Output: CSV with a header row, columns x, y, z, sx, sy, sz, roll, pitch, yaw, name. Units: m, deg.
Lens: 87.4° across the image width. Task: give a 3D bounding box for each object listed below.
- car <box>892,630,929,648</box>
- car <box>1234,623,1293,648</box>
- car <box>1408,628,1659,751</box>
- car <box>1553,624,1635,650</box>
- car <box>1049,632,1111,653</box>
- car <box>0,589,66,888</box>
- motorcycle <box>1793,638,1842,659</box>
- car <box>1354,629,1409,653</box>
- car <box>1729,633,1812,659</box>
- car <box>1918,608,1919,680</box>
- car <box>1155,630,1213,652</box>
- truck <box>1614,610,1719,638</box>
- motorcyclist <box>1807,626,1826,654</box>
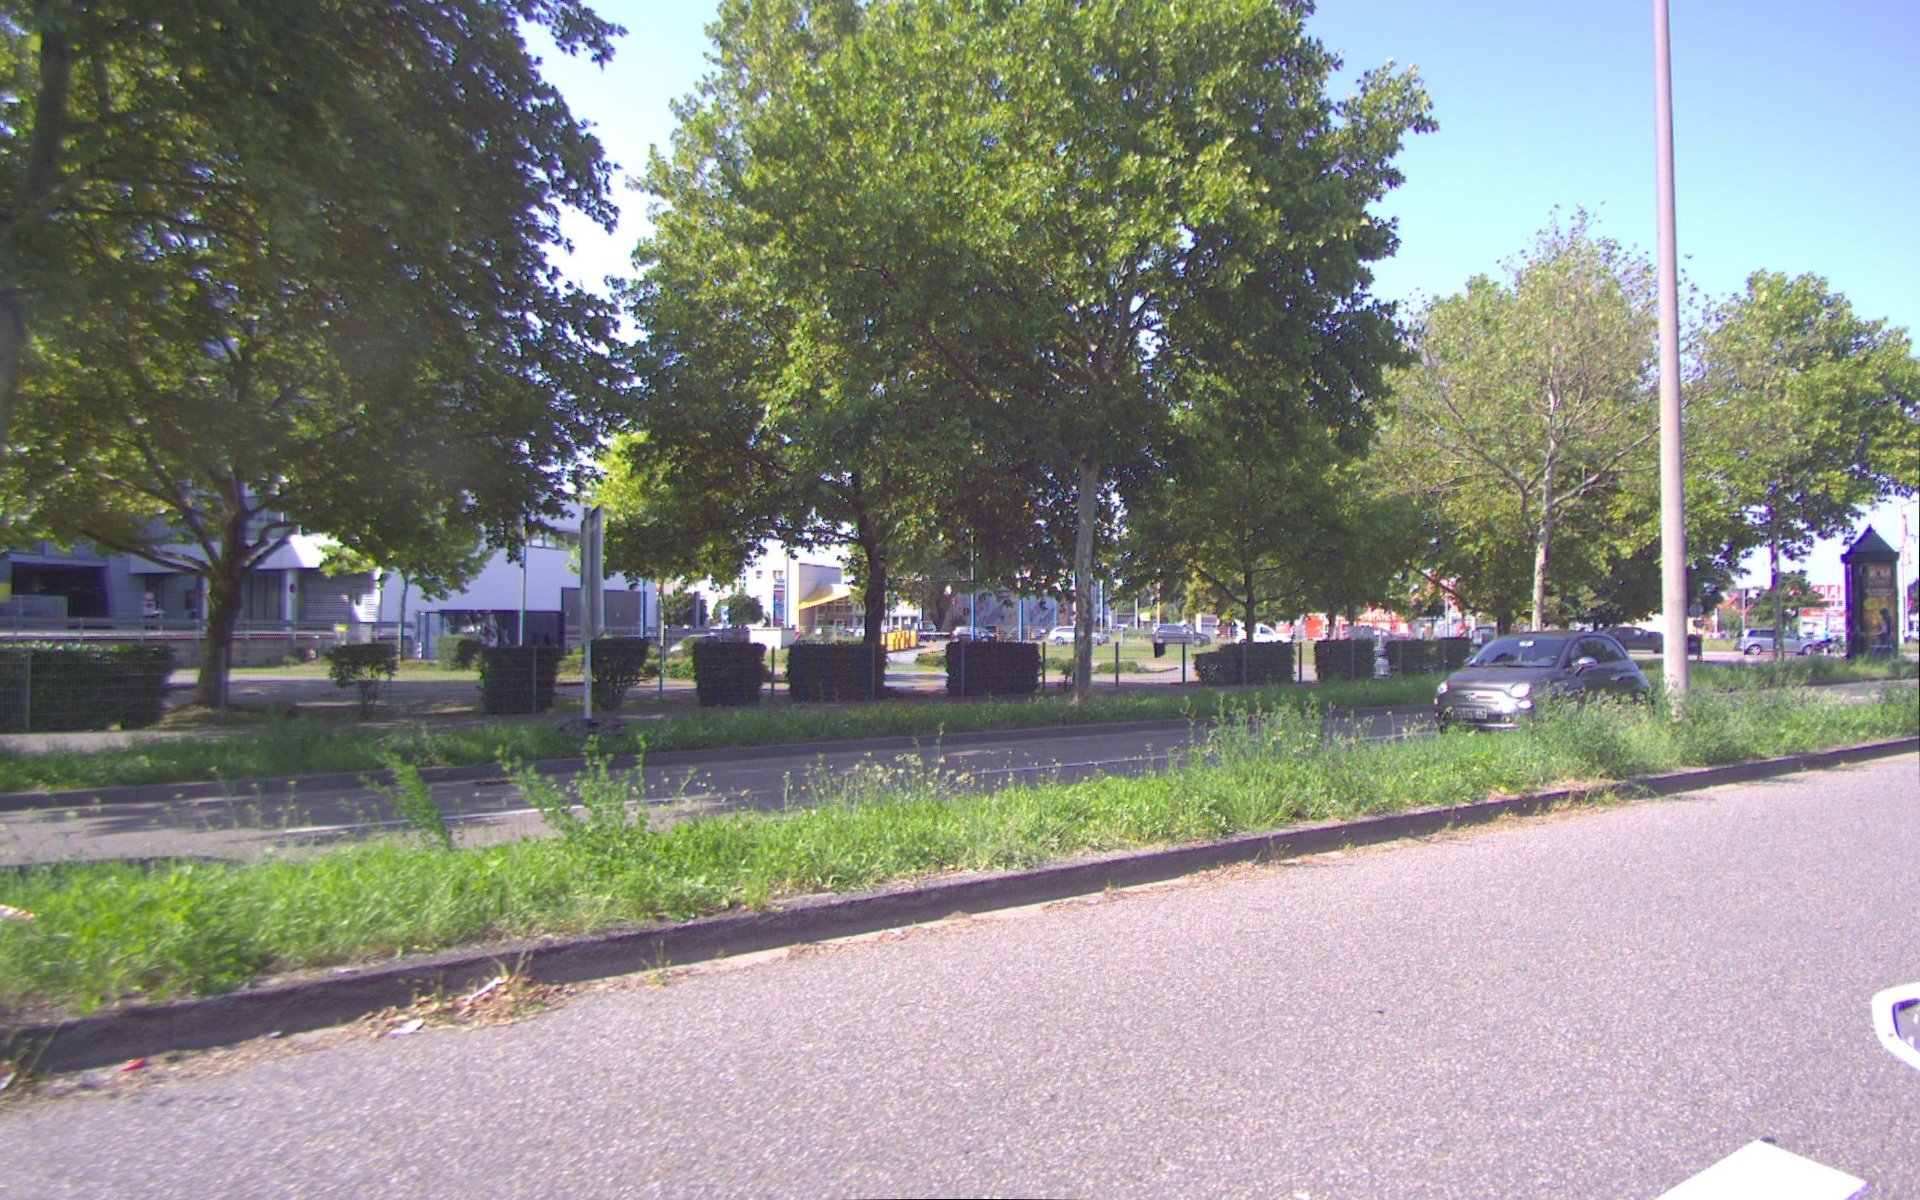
x,y,z,sx,sy,sz,roll,pitch,yaw,name
-4.390,3.448,88.576,1.817,1.565,3.972,1,-2,-28,car
21.827,2.504,72.163,3.923,1.701,1.870,0,-1,22,car
8.102,1.171,14.136,3.454,1.506,1.667,2,-1,-33,car
40.620,2.364,64.475,4.227,1.600,1.572,0,-1,21,car
9.408,3.316,78.572,4.499,1.565,1.871,-1,-2,20,car
-7.103,0.723,4.686,4.062,1.615,1.870,1,-2,-32,car
49.729,2.791,58.281,2.036,1.151,0.677,0,-2,24,motorcycle
28.883,2.823,68.906,3.425,1.601,1.726,-1,-2,23,car
49.519,2.785,61.435,3.631,1.462,1.466,0,-1,23,car
27.033,1.258,26.201,4.517,2.054,1.921,1,-2,-33,car
16.761,3.065,75.237,3.924,1.565,1.839,-1,-2,24,car
78.314,2.671,111.583,8.841,2.996,3.513,-1,-2,23,truck
49.699,2.328,58.307,0.670,1.593,0.683,0,-1,23,motorcyclist
